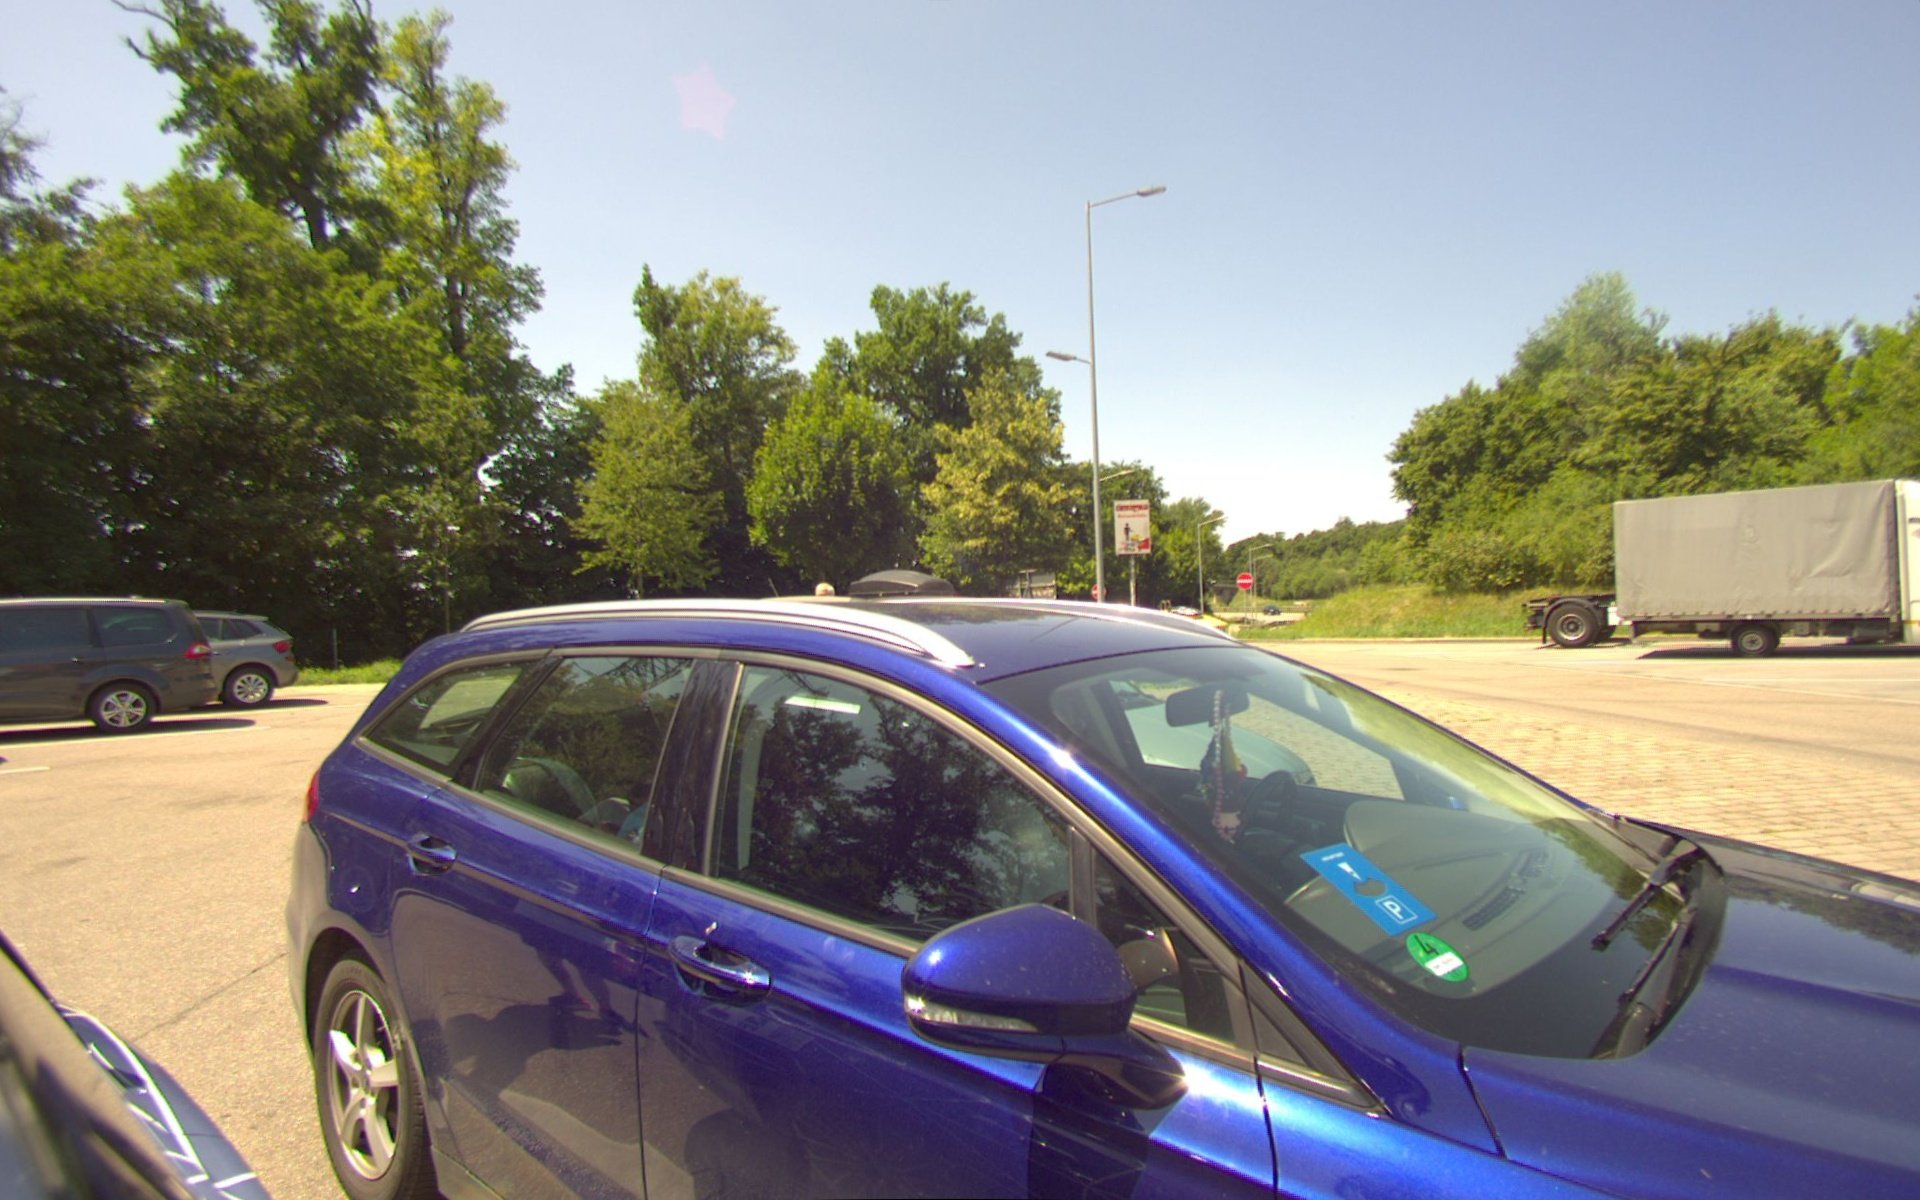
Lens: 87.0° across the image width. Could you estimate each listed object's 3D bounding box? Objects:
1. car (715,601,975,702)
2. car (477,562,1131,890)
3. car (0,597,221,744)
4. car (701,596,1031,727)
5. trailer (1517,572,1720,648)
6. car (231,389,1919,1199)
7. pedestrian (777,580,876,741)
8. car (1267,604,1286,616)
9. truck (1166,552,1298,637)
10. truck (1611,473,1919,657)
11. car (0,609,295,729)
[{"bbox_3d":[-2.042,0.835,17.096,4.466,1.476,1.756,-3,-1,40],"label":"car"},{"bbox_3d":[-1.283,0.637,6.688,4.466,1.476,1.756,-3,-1,40],"label":"car"},{"bbox_3d":[-11.712,0.853,12.568,3.910,1.701,1.782,-1,-1,-43],"label":"car"},{"bbox_3d":[-1.390,0.763,13.543,4.466,1.476,1.756,-3,-1,40],"label":"car"},{"bbox_3d":[15.758,0.282,24.338,3.900,1.674,1.456,-2,-1,41],"label":"trailer"},{"bbox_3d":[0.209,0.636,2.111,4.466,1.476,1.756,-3,-1,40],"label":"car"},{"bbox_3d":[-1.403,0.611,10.640,0.759,1.614,0.663,-3,-1,41],"label":"pedestrian"},{"bbox_3d":[53.101,1.730,169.898,2.010,1.874,3.998,-1,-1,1],"label":"car"},{"bbox_3d":[12.796,-0.219,47.617,5.782,3.720,1.987,-2,-1,20],"label":"truck"},{"bbox_3d":[16.697,-0.584,18.826,7.348,3.152,2.339,-3,-2,41],"label":"truck"},{"bbox_3d":[-12.741,0.978,15.619,3.910,1.598,1.782,-1,-1,-43],"label":"car"}]
